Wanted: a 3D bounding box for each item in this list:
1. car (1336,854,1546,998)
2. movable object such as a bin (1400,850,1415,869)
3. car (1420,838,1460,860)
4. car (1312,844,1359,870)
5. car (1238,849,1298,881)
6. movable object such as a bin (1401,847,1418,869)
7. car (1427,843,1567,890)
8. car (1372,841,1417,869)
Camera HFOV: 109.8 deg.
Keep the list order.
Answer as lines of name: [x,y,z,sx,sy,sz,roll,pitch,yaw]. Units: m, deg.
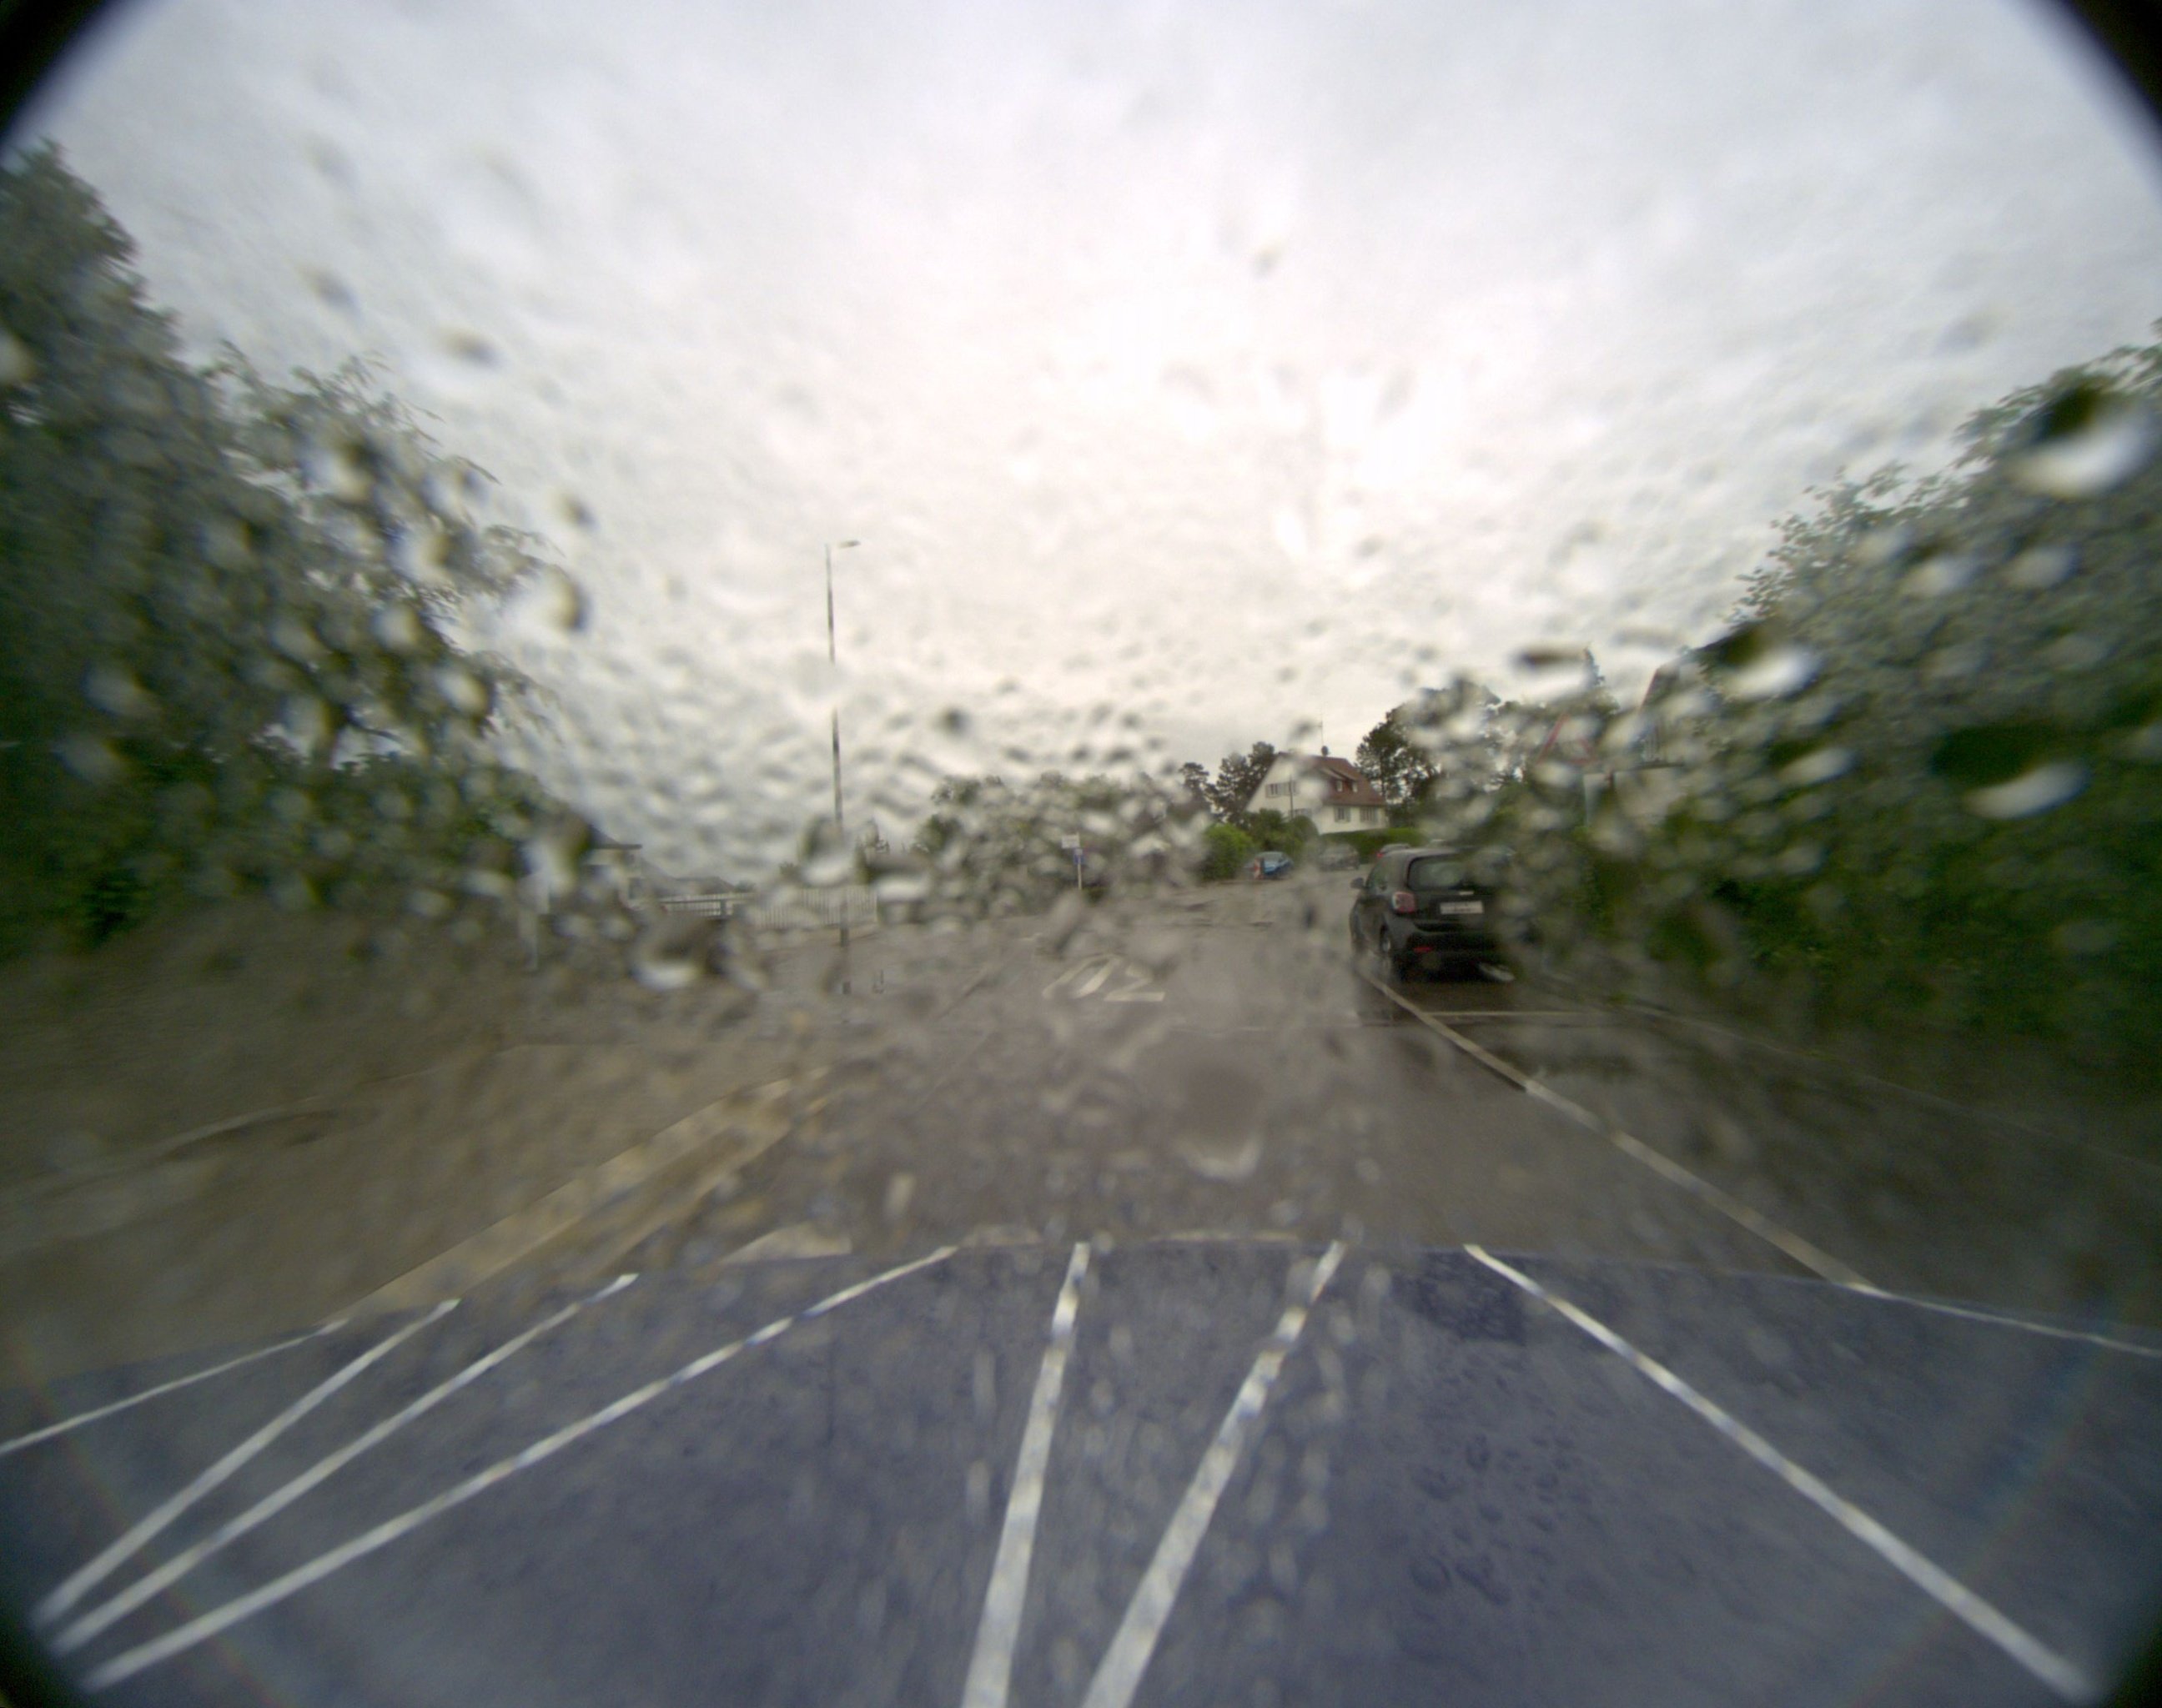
car: [4.390,0.798,9.730,1.605,1.503,2.944,-2,0,8]
movable object such as a bin: [15.747,0.264,36.688,0.579,0.934,0.505,0,1,34]
car: [30.651,-0.462,64.888,4.223,1.630,1.662,-3,0,-44]
car: [17.071,0.190,50.780,1.903,1.532,4.223,-3,0,33]
car: [9.853,0.542,39.743,1.796,1.460,4.223,-3,0,31]
movable object such as a bin: [16.021,0.188,37.073,0.692,1.085,0.421,0,1,34]
car: [14.201,0.397,26.013,3.988,1.432,1.772,-1,2,37]
car: [19.582,0.057,47.378,1.931,1.596,4.351,-2,0,31]
